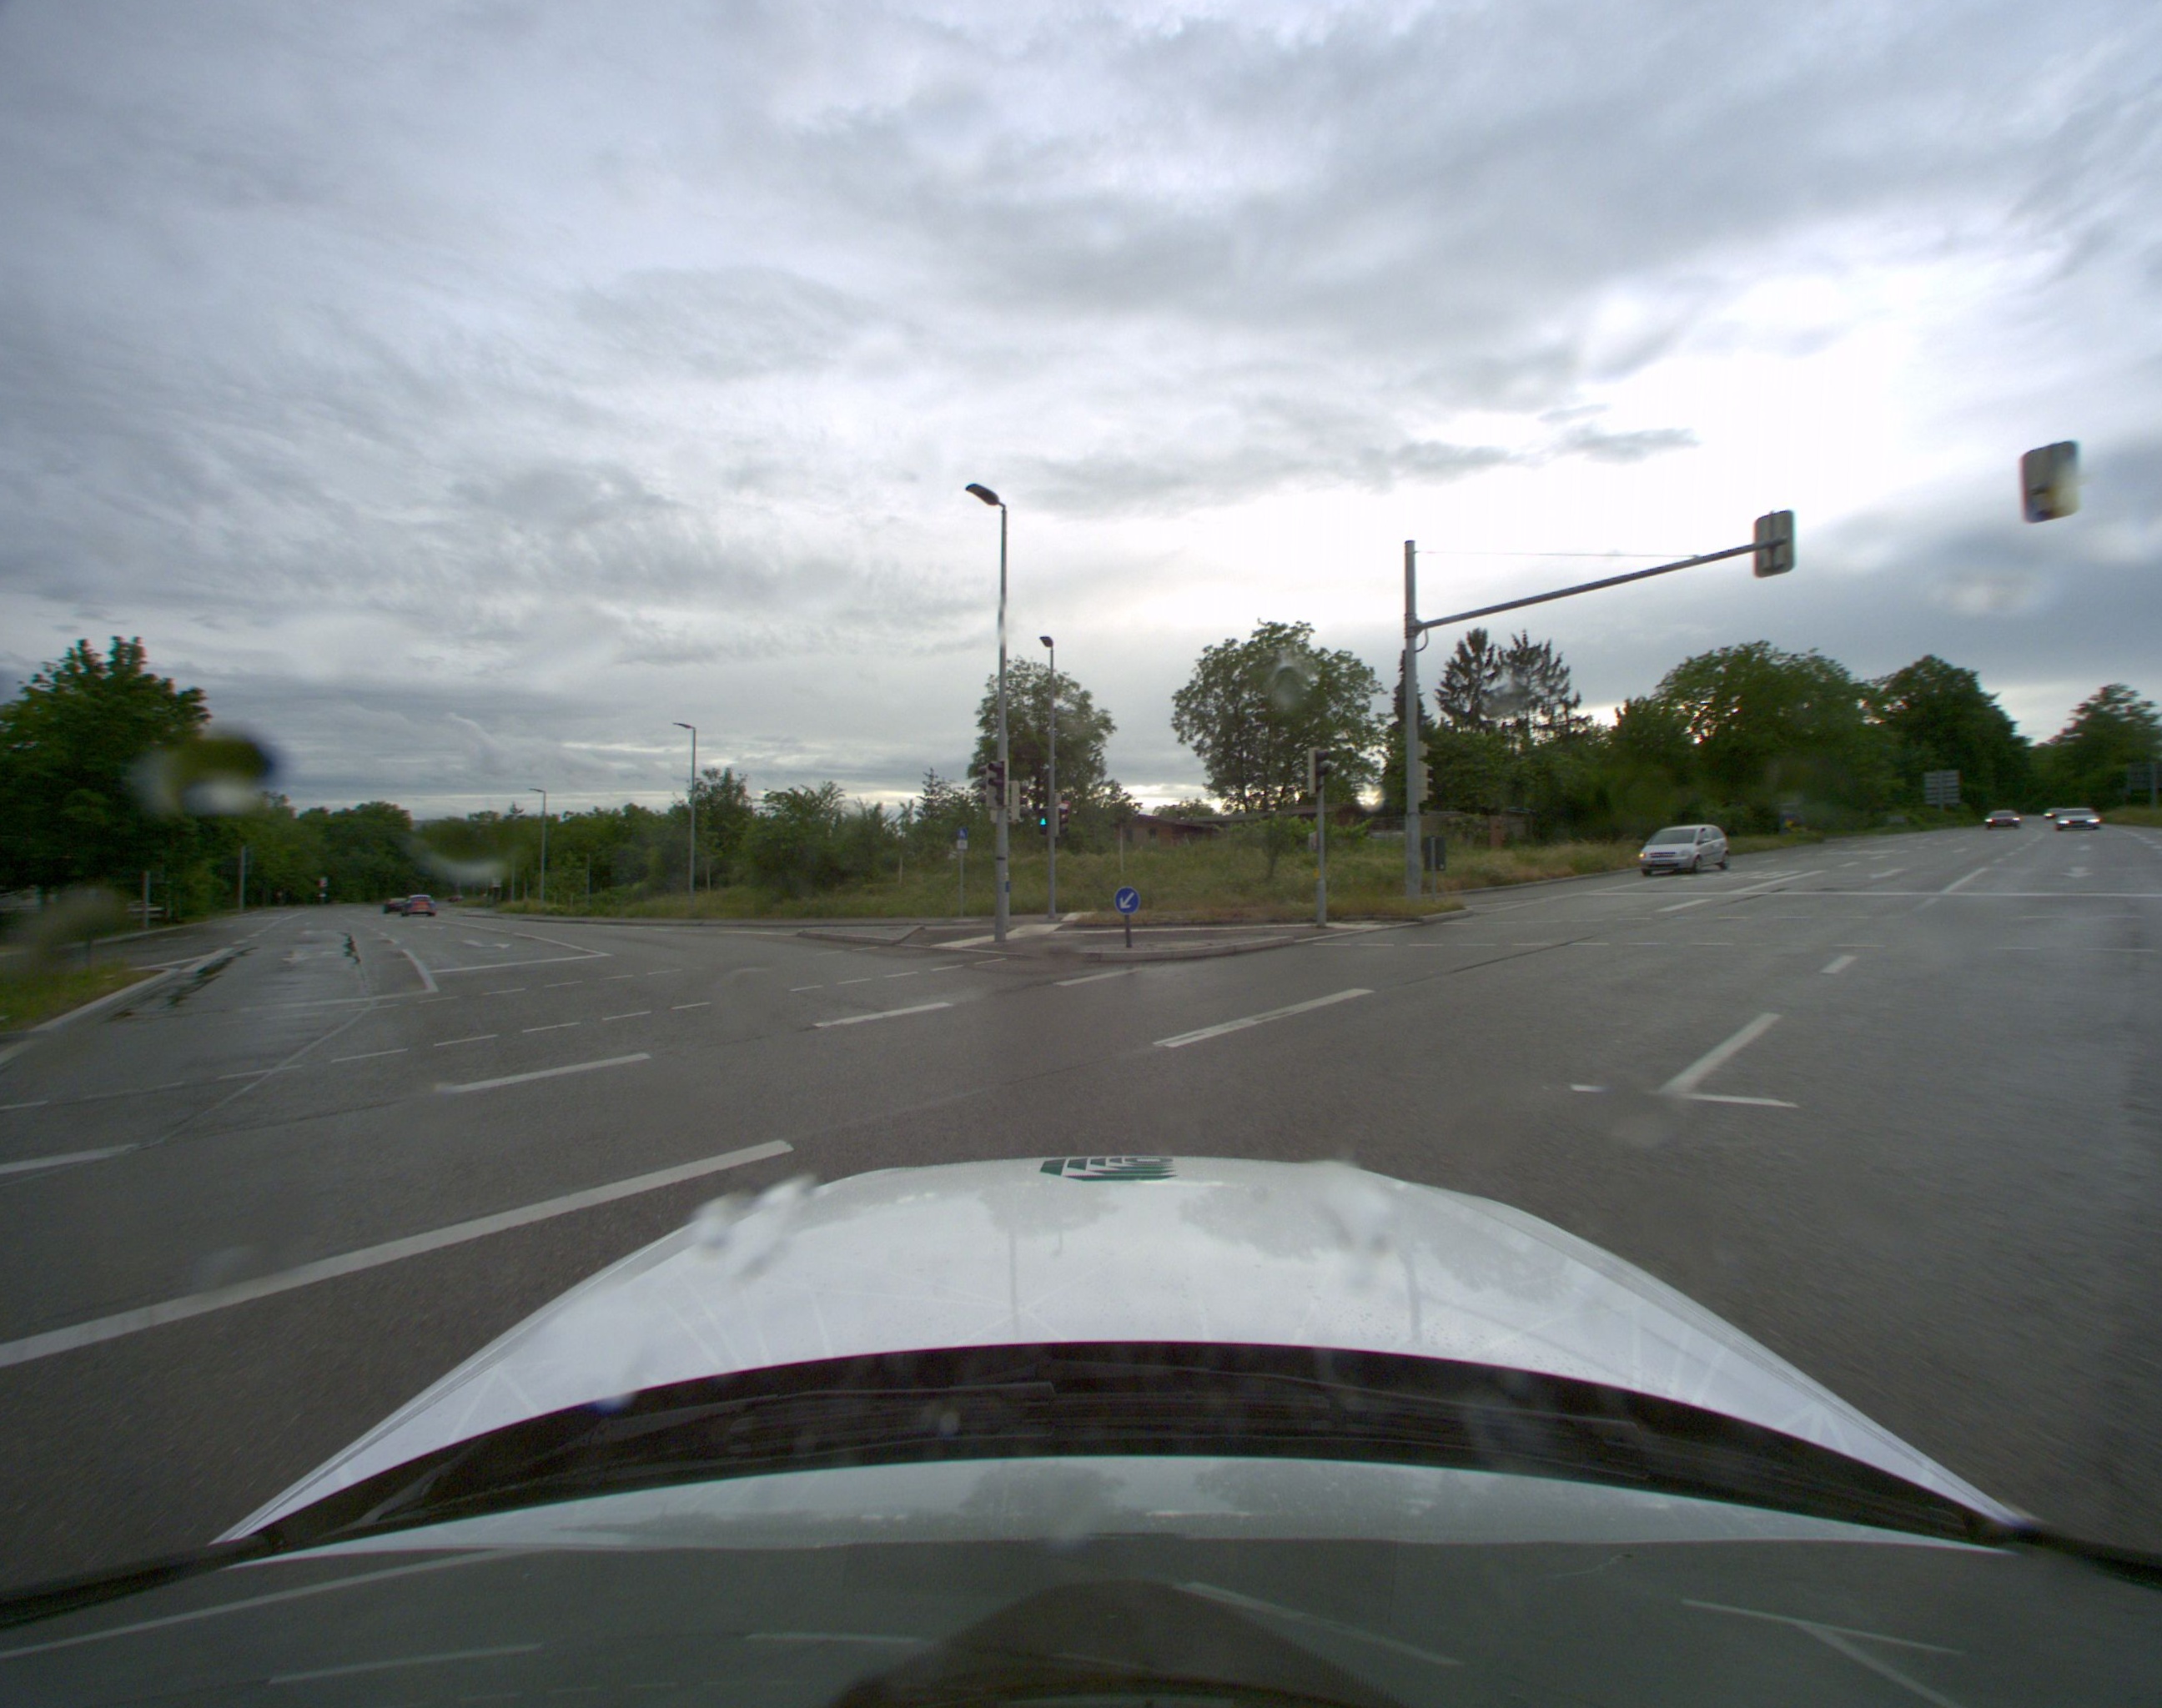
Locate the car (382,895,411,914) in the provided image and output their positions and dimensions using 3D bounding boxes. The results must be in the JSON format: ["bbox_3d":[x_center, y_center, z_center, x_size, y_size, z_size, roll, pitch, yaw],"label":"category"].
[{"bbox_3d":[-61.701,4.530,73.451,1.943,1.486,3.755,0,-1,-40],"label":"car"}]

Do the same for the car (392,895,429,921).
[{"bbox_3d":[-49.127,3.930,59.647,2.011,1.689,3.952,0,-1,-41],"label":"car"}]

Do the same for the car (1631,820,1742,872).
[{"bbox_3d":[21.044,-0.296,28.266,4.080,1.604,1.804,-2,0,-34],"label":"car"}]

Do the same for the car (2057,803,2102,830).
[{"bbox_3d":[67.398,-2.515,55.006,4.021,1.674,1.802,-3,1,-40],"label":"car"}]

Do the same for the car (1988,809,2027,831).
[{"bbox_3d":[75.394,-2.769,66.275,4.029,1.674,1.802,-2,1,-38],"label":"car"}]
